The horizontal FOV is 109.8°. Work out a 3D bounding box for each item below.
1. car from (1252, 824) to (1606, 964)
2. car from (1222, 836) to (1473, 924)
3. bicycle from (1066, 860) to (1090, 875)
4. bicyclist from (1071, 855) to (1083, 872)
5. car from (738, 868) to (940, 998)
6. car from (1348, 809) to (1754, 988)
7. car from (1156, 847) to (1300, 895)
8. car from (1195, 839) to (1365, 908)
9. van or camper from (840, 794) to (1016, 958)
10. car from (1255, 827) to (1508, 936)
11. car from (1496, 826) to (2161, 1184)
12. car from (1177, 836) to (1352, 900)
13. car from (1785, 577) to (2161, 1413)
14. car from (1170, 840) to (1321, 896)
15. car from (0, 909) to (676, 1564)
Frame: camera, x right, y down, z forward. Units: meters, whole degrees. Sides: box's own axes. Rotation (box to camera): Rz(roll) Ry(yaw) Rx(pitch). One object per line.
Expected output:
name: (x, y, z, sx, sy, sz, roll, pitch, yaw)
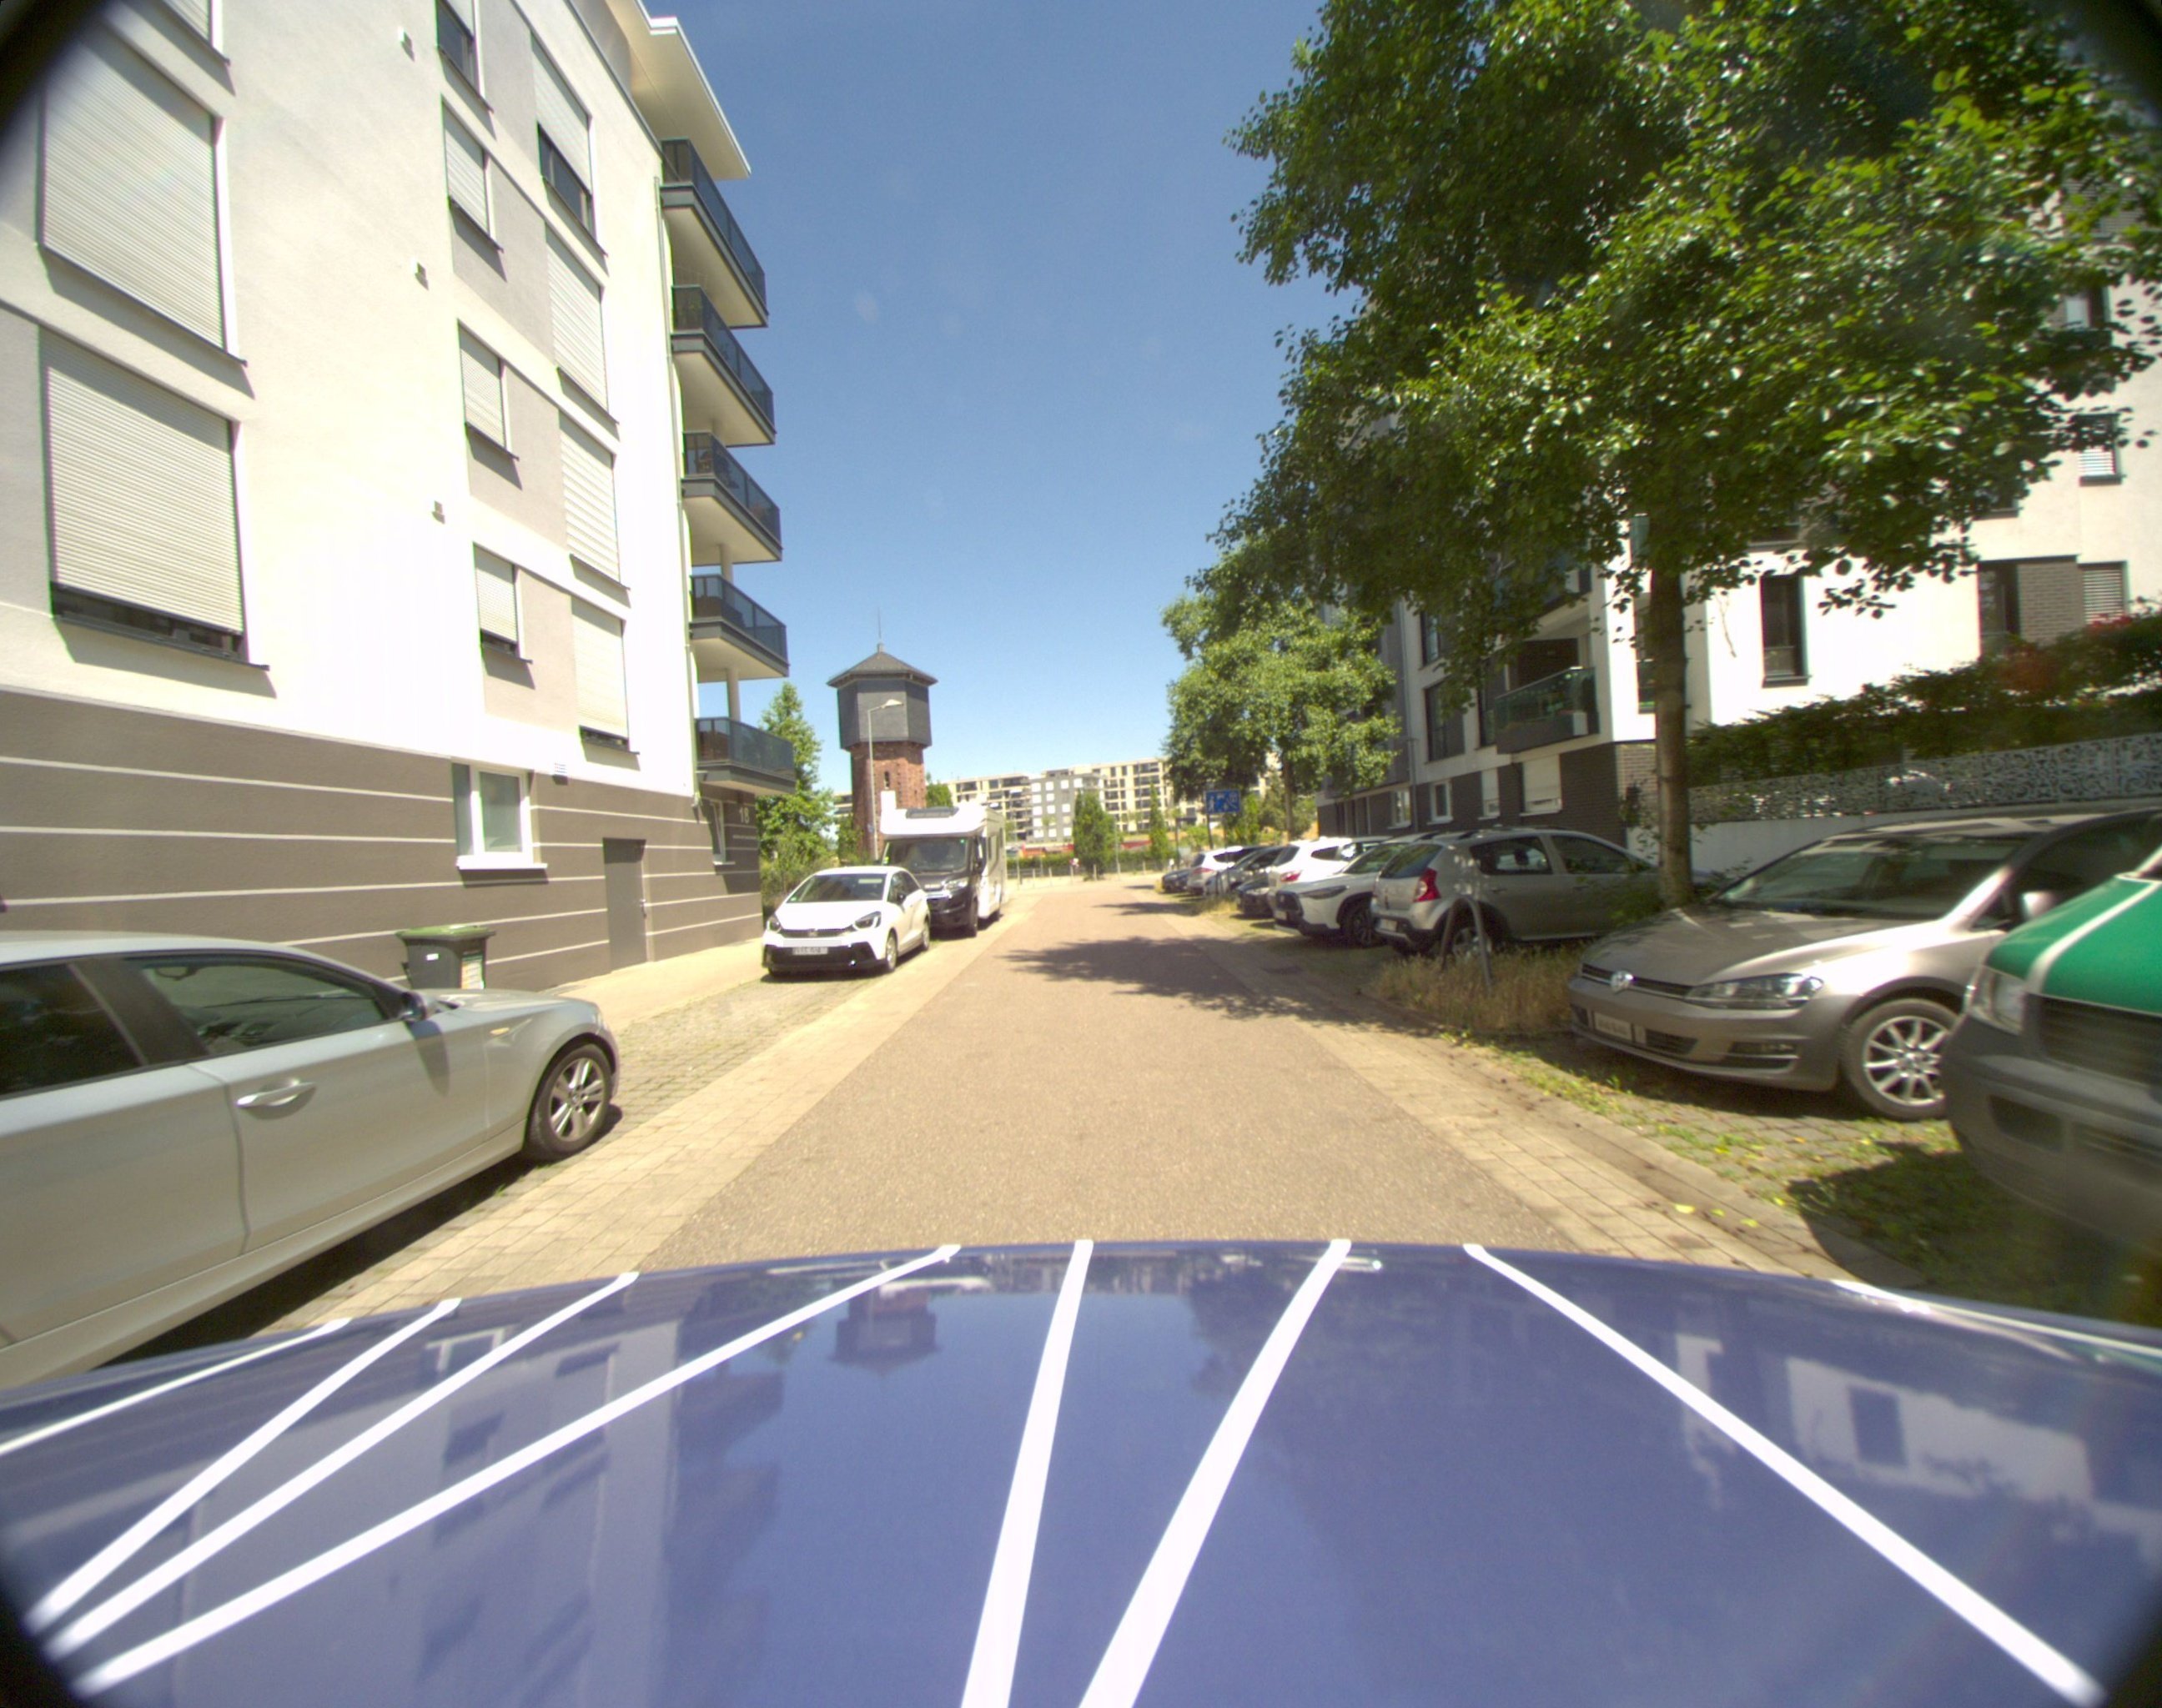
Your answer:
car: (5.259, 0.562, 11.888, 4.571, 1.585, 1.966, -5, 1, -4)
car: (5.793, 0.552, 16.960, 4.862, 1.448, 1.829, -5, 0, 1)
bicycle: (-0.293, 1.173, 65.341, 1.937, 1.192, 0.592, -4, 0, 30)
bicyclist: (-0.343, 0.826, 65.389, 0.659, 1.426, 0.734, -4, 0, 30)
car: (-3.457, 1.046, 11.758, 1.812, 1.496, 4.260, -2, 0, -1)
car: (5.472, 0.486, 9.245, 3.689, 1.666, 1.852, -5, 0, 0)
car: (5.629, 0.626, 29.522, 5.112, 1.476, 1.927, -4, 1, -2)
car: (5.604, 0.525, 21.742, 4.262, 1.521, 1.822, -5, 0, -3)
van or camper: (-3.181, 0.363, 18.035, 2.445, 2.889, 7.825, -4, 1, 0)
car: (5.565, 0.498, 14.515, 3.989, 1.620, 1.950, -5, 0, 3)
car: (5.272, 0.665, 4.552, 4.432, 1.481, 2.000, -3, 0, -1)
car: (5.810, 0.436, 24.459, 5.042, 1.622, 2.042, -4, 0, -2)
car: (5.358, 0.233, 1.704, 5.354, 2.098, 2.187, -3, 0, 2)
car: (5.726, 0.472, 26.875, 4.831, 1.441, 1.827, -6, 1, -2)
car: (-3.659, 1.129, 2.746, 1.850, 1.408, 4.426, -3, 0, 1)
